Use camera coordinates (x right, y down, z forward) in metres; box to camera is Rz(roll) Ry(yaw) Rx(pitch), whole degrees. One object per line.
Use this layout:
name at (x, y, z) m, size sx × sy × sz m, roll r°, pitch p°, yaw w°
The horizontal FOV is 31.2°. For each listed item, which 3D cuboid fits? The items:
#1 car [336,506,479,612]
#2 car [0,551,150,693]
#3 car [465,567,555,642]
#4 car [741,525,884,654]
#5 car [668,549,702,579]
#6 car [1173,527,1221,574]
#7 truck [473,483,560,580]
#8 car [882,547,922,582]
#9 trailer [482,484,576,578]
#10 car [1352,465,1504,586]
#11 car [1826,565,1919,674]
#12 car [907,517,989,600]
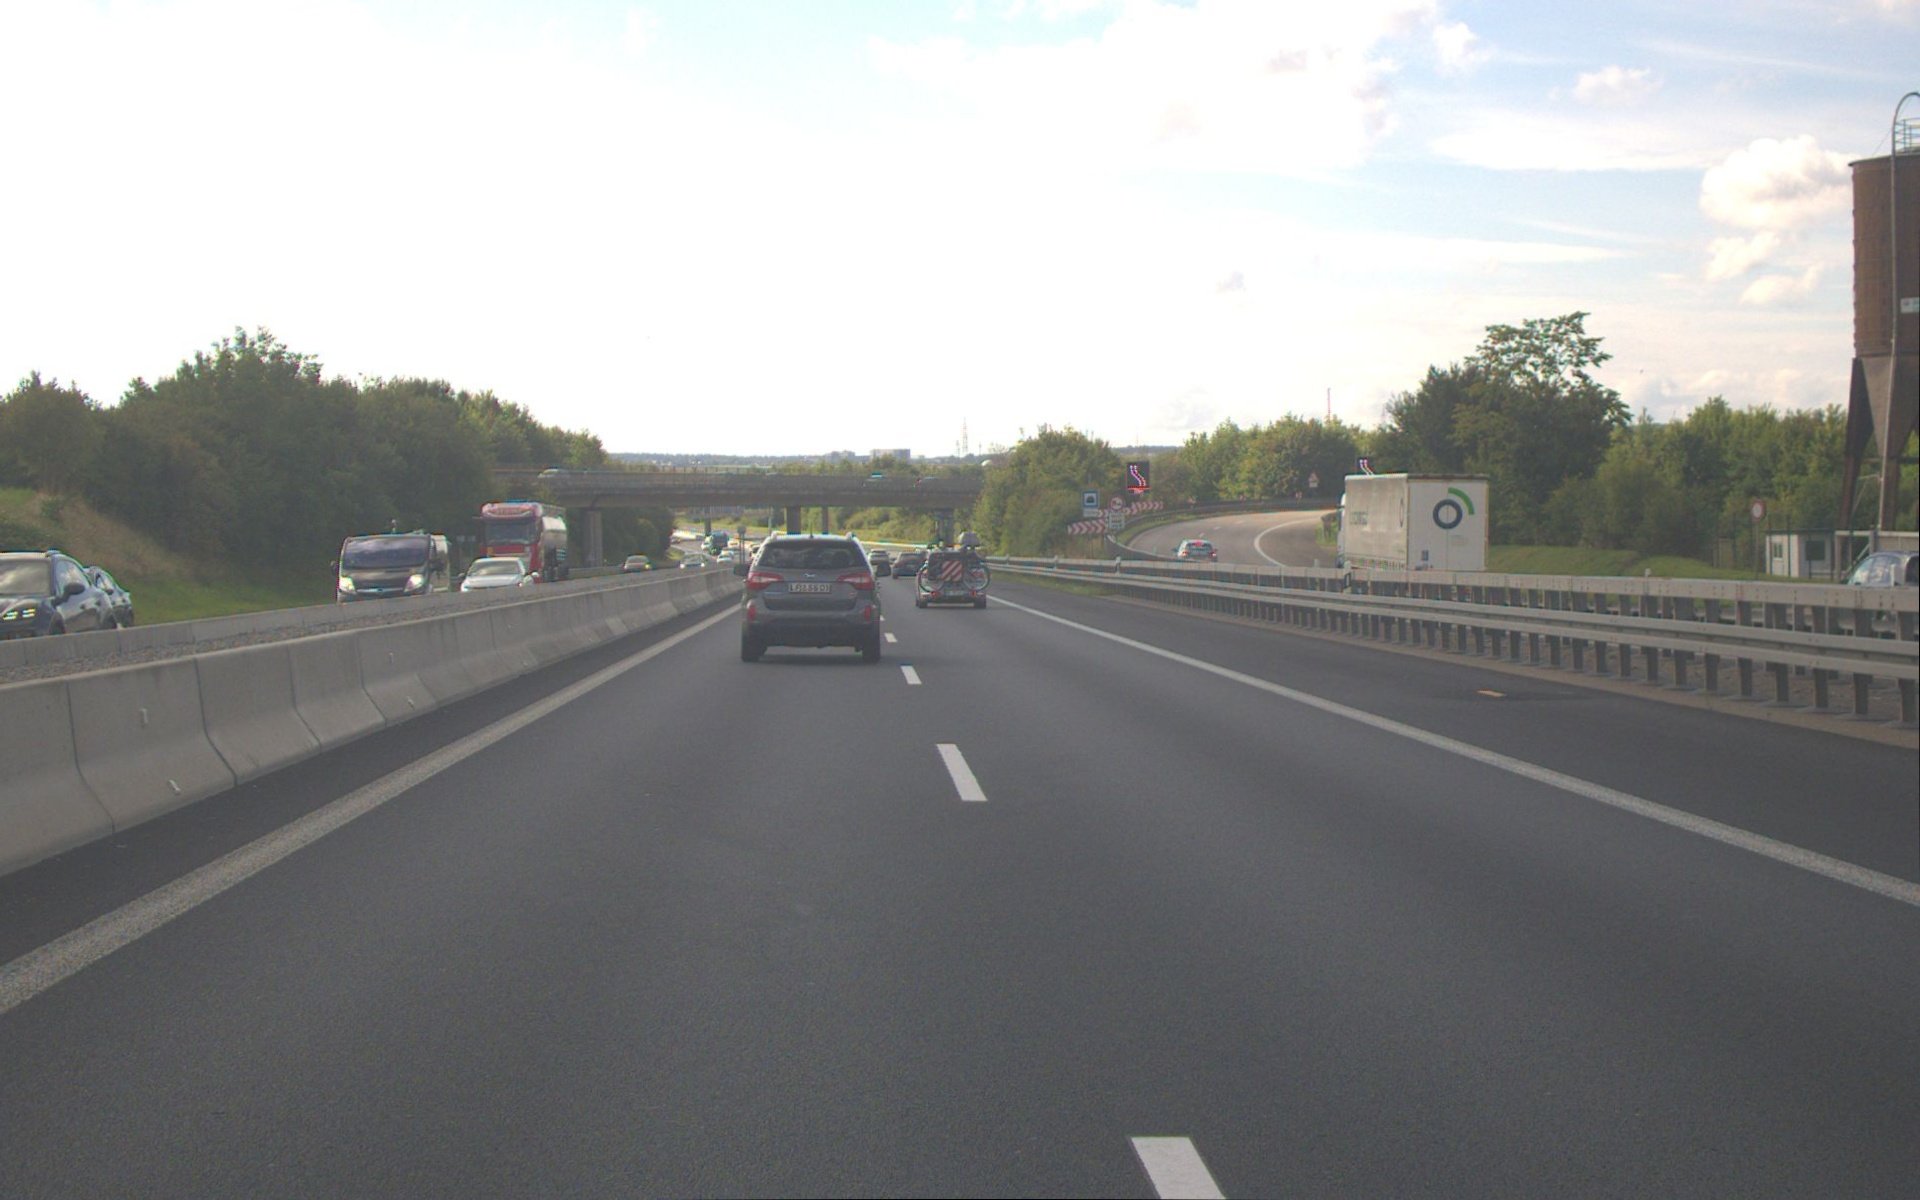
car at (-11.185, -0.841, 70.006) m, size 1.993 × 2.007 × 5.841 m, roll -2°, pitch 1°, yaw -1°
car at (-11.256, 0.235, 40.907) m, size 1.993 × 1.567 × 5.365 m, roll -2°, pitch 1°, yaw -1°
car at (-12.637, 0.108, 96.796) m, size 1.993 × 2.007 × 4.678 m, roll 0°, pitch 1°, yaw -1°
car at (-1.963, -0.156, 46.563) m, size 1.750 × 1.624 × 3.609 m, roll -2°, pitch 1°, yaw 0°
car at (-17.292, -2.277, 216.165) m, size 1.807 × 1.826 × 4.397 m, roll -2°, pitch 1°, yaw -1°
car at (10.621, -2.215, 154.281) m, size 1.994 × 2.007 × 4.000 m, roll -2°, pitch 1°, yaw 2°
truck at (-18.626, -2.850, 144.771) m, size 2.737 × 3.911 × 6.901 m, roll -2°, pitch 1°, yaw -1°
car at (-3.093, -1.868, 182.046) m, size 1.975 × 1.773 × 4.121 m, roll -2°, pitch 1°, yaw -2°
trailer at (-18.665, -2.974, 149.506) m, size 2.713 × 3.873 × 11.161 m, roll -2°, pitch 1°, yaw -1°
car at (14.984, -2.365, 110.637) m, size 3.576 × 3.664 × 7.549 m, roll -2°, pitch 1°, yaw -2°
car at (16.181, 0.299, 57.984) m, size 1.993 × 1.711 × 4.000 m, roll -2°, pitch 1°, yaw -2°
car at (-0.348, -1.086, 90.283) m, size 1.993 × 2.073 × 4.000 m, roll -2°, pitch 1°, yaw -2°
